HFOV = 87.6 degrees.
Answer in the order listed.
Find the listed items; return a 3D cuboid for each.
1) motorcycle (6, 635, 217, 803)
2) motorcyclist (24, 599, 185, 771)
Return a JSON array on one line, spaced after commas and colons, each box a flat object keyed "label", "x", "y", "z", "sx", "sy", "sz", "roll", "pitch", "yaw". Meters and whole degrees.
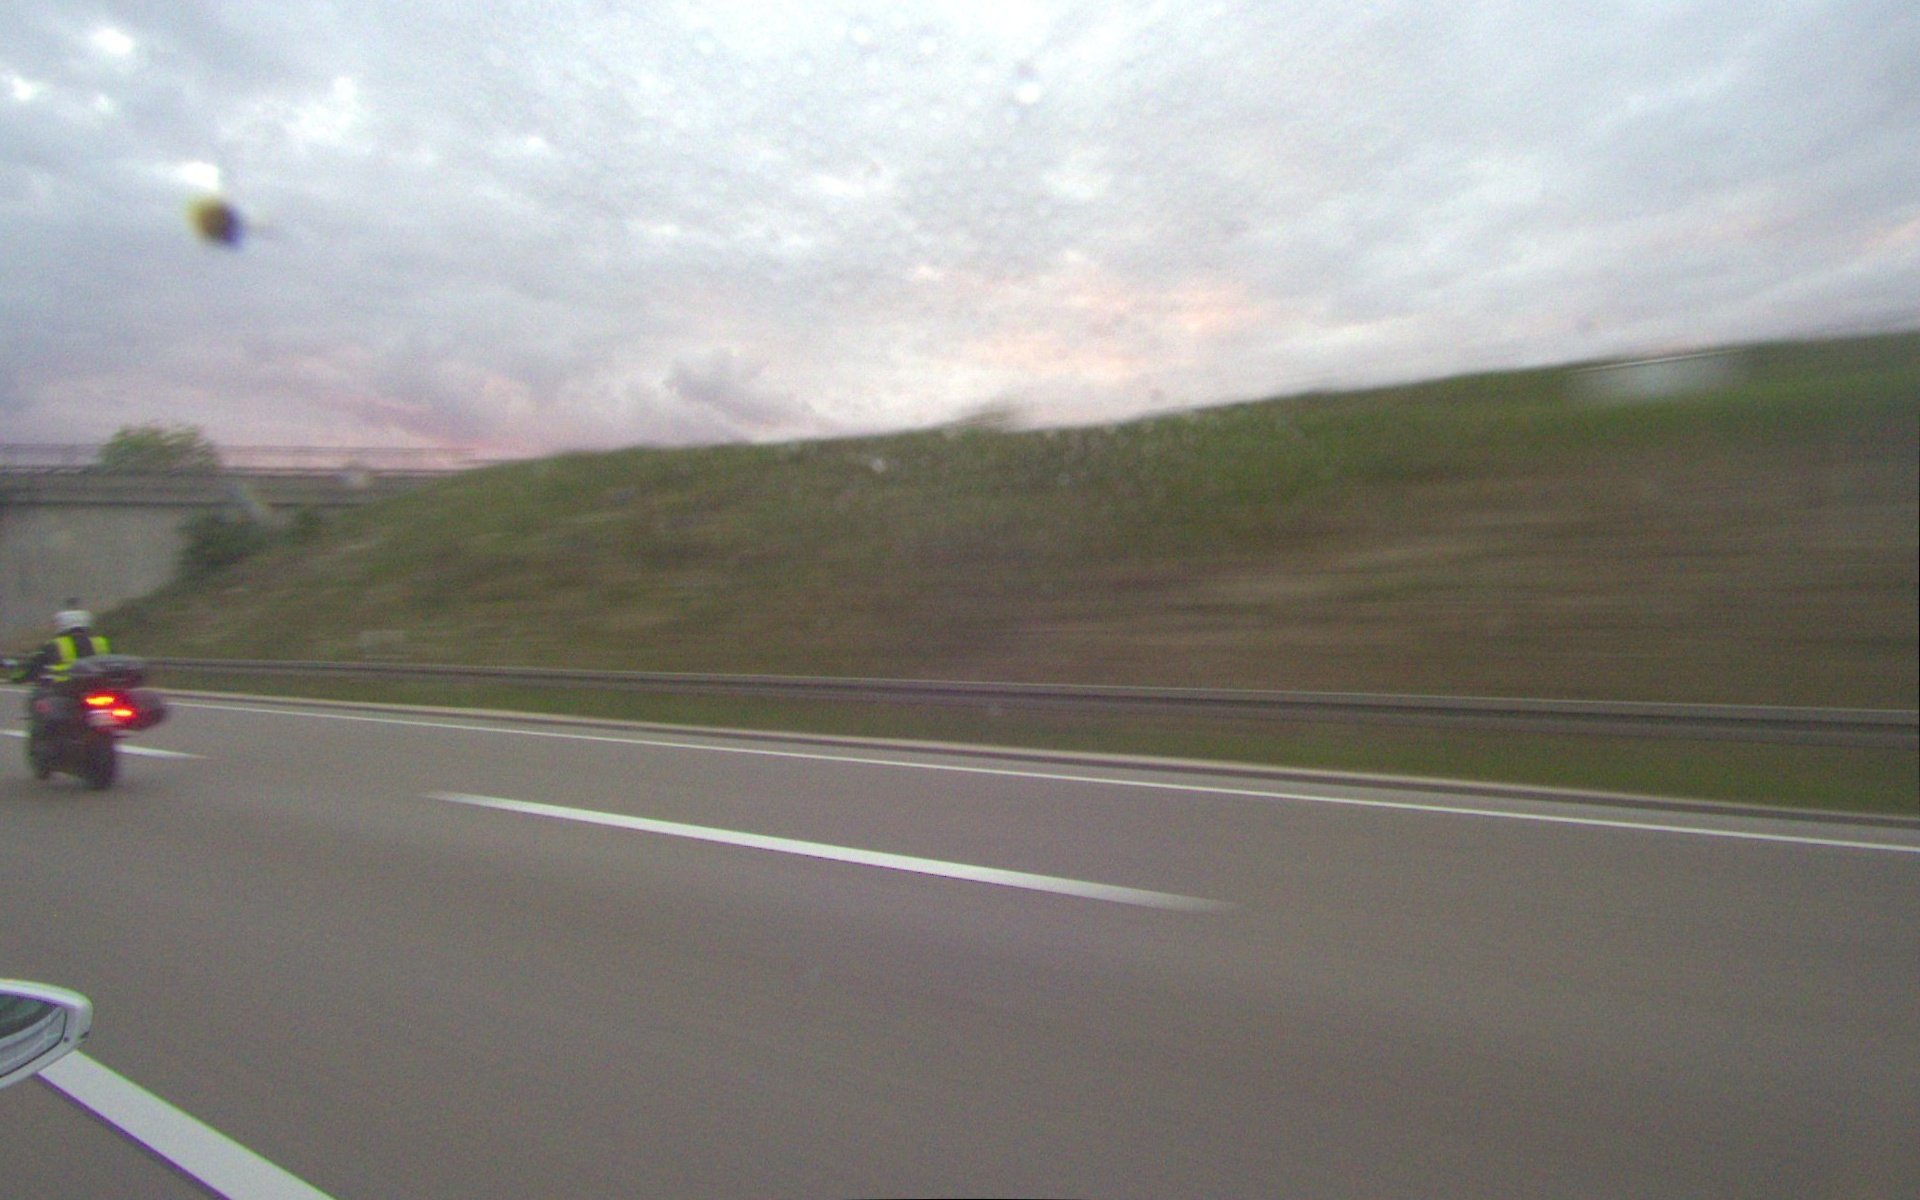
[{"label": "motorcycle", "x": -8.076, "y": 1.043, "z": 9.498, "sx": 2.315, "sy": 1.364, "sz": 0.900, "roll": 0, "pitch": 0, "yaw": 33}, {"label": "motorcyclist", "x": -8.104, "y": 0.764, "z": 9.489, "sx": 1.152, "sy": 1.507, "sz": 0.864, "roll": 0, "pitch": -1, "yaw": 34}]
